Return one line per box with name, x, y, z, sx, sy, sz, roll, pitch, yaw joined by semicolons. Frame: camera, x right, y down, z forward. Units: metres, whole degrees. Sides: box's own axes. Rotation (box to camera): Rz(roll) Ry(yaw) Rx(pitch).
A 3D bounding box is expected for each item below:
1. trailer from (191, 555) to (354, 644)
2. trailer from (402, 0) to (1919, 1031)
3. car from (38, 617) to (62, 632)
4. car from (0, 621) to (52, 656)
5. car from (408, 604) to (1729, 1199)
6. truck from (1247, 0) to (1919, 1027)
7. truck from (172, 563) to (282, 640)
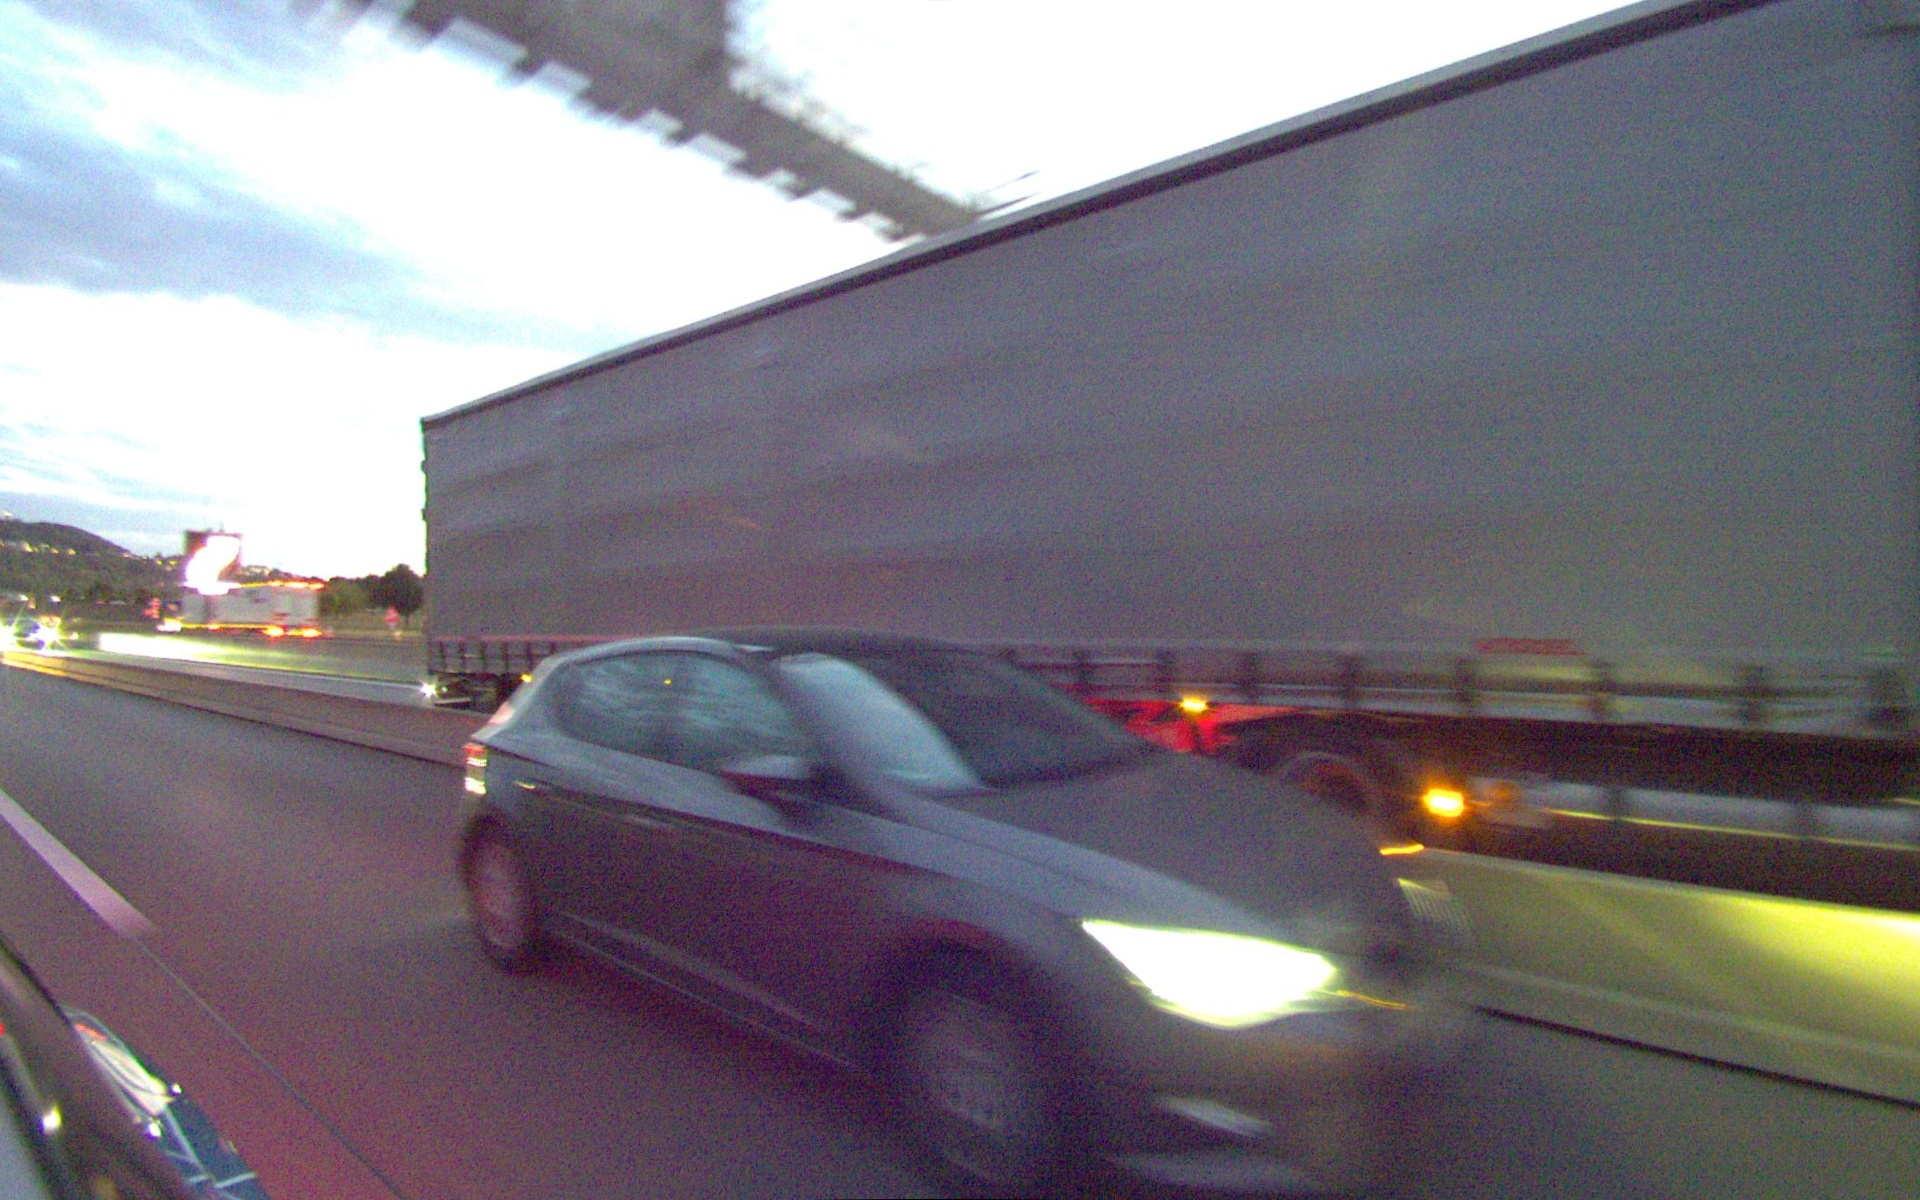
trailer;-51.018;0.024;74.595;19.204;5.829;5.249;-1;0;41
trailer;-0.594;-0.475;8.874;14.519;4.116;2.765;-1;-1;41
car;-123.901;3.293;137.791;3.998;2.029;1.973;-1;0;41
car;-43.636;1.742;46.751;5.391;1.448;1.796;-1;0;40
car;-0.229;0.783;3.708;4.725;1.482;1.704;-1;0;42
truck;4.665;-0.559;4.240;6.100;4.124;2.748;-1;-1;41
truck;-59.546;0.142;82.135;9.640;5.834;5.263;-1;0;41
